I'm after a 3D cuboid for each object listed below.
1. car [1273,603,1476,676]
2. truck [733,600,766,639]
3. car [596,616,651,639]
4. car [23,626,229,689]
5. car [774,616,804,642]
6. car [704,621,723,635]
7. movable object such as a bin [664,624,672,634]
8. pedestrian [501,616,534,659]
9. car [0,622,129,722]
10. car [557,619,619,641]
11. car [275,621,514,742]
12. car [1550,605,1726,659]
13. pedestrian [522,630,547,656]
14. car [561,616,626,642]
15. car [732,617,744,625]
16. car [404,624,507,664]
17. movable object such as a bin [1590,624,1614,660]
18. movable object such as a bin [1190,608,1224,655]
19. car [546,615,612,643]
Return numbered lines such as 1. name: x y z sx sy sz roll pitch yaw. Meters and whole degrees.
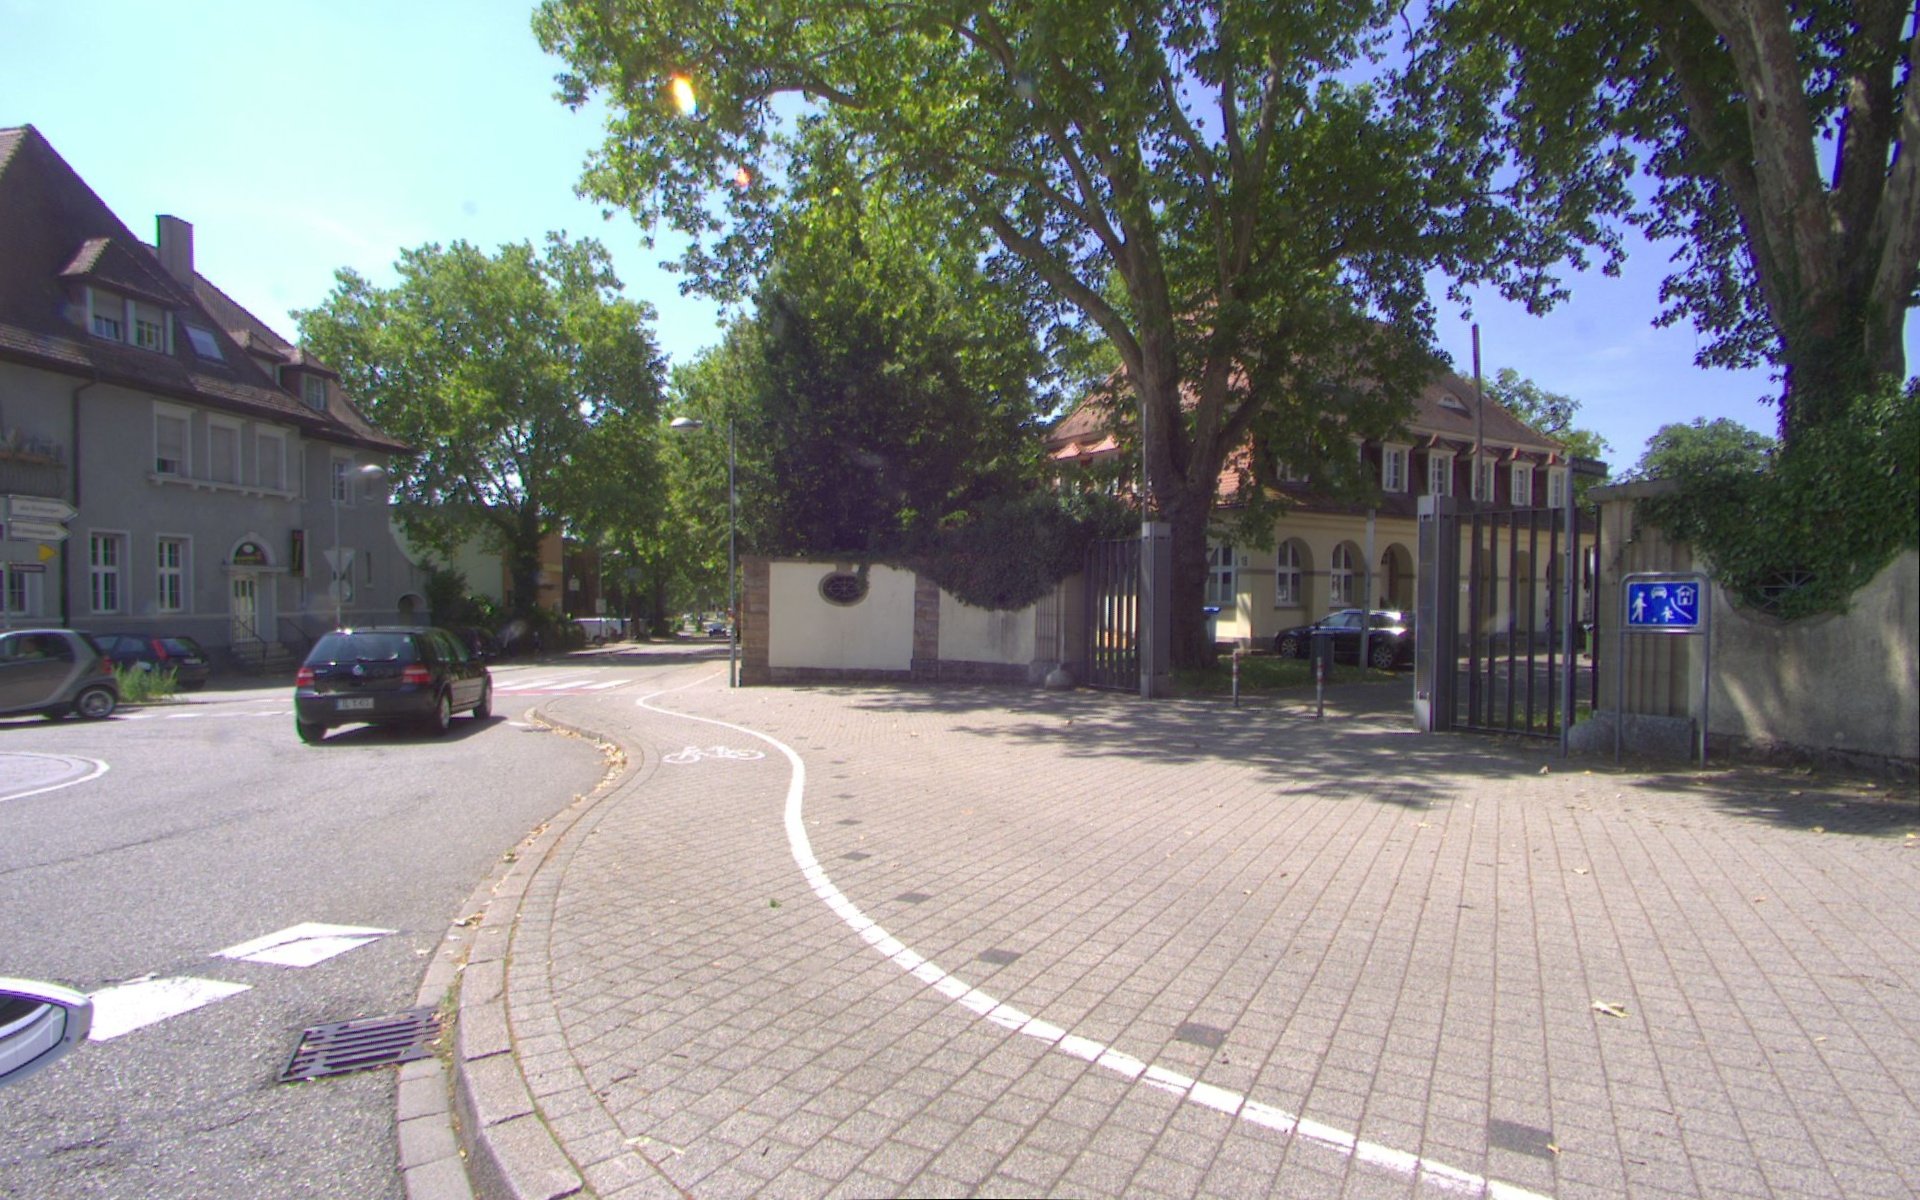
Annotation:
1. car: 10.478 0.929 25.680 1.972 1.423 4.472 0 4 -31
2. truck: -17.625 1.694 84.162 2.333 3.173 5.769 0 -2 -9
3. car: -28.289 2.343 84.296 4.065 1.827 1.902 2 -1 -11
4. car: -20.622 1.392 24.845 3.719 1.479 1.724 -1 -1 2
5. car: -11.401 1.907 66.866 1.713 1.578 4.778 -2 0 -7
6. car: -26.804 3.035 108.894 1.741 1.444 4.390 0 -1 -11
7. movable object such as a bin: -29.873 2.983 102.353 0.613 1.062 0.620 0 0 -2
8. pedestrian: -18.337 1.550 41.513 0.857 1.765 1.112 0 -1 2
9. car: -15.536 1.141 16.263 1.545 1.550 2.779 -1 -1 26
10. car: -27.307 2.201 73.586 3.926 1.535 1.867 2 -1 -11
11. car: -7.815 1.052 14.296 1.684 1.466 4.056 0 -2 -10
12. car: 22.810 1.018 33.881 1.972 1.423 4.472 0 4 -31
13. pedestrian: -18.954 1.927 44.592 0.741 1.136 0.897 0 -1 -3
14. car: -27.803 2.176 76.067 4.355 1.827 1.902 2 -1 -11
15. car: -43.835 4.151 197.718 1.742 1.392 3.721 -1 -1 -20
16. car: -20.535 1.763 40.819 3.326 1.566 1.724 0 -1 2
17. movable object such as a bin: 18.745 1.228 29.227 0.530 1.021 0.525 -1 -1 27
18. movable object such as a bin: 7.082 0.900 28.731 0.661 1.314 0.672 0 -1 -41
19. car: -26.255 2.026 69.179 3.926 1.815 1.867 2 -1 -11
